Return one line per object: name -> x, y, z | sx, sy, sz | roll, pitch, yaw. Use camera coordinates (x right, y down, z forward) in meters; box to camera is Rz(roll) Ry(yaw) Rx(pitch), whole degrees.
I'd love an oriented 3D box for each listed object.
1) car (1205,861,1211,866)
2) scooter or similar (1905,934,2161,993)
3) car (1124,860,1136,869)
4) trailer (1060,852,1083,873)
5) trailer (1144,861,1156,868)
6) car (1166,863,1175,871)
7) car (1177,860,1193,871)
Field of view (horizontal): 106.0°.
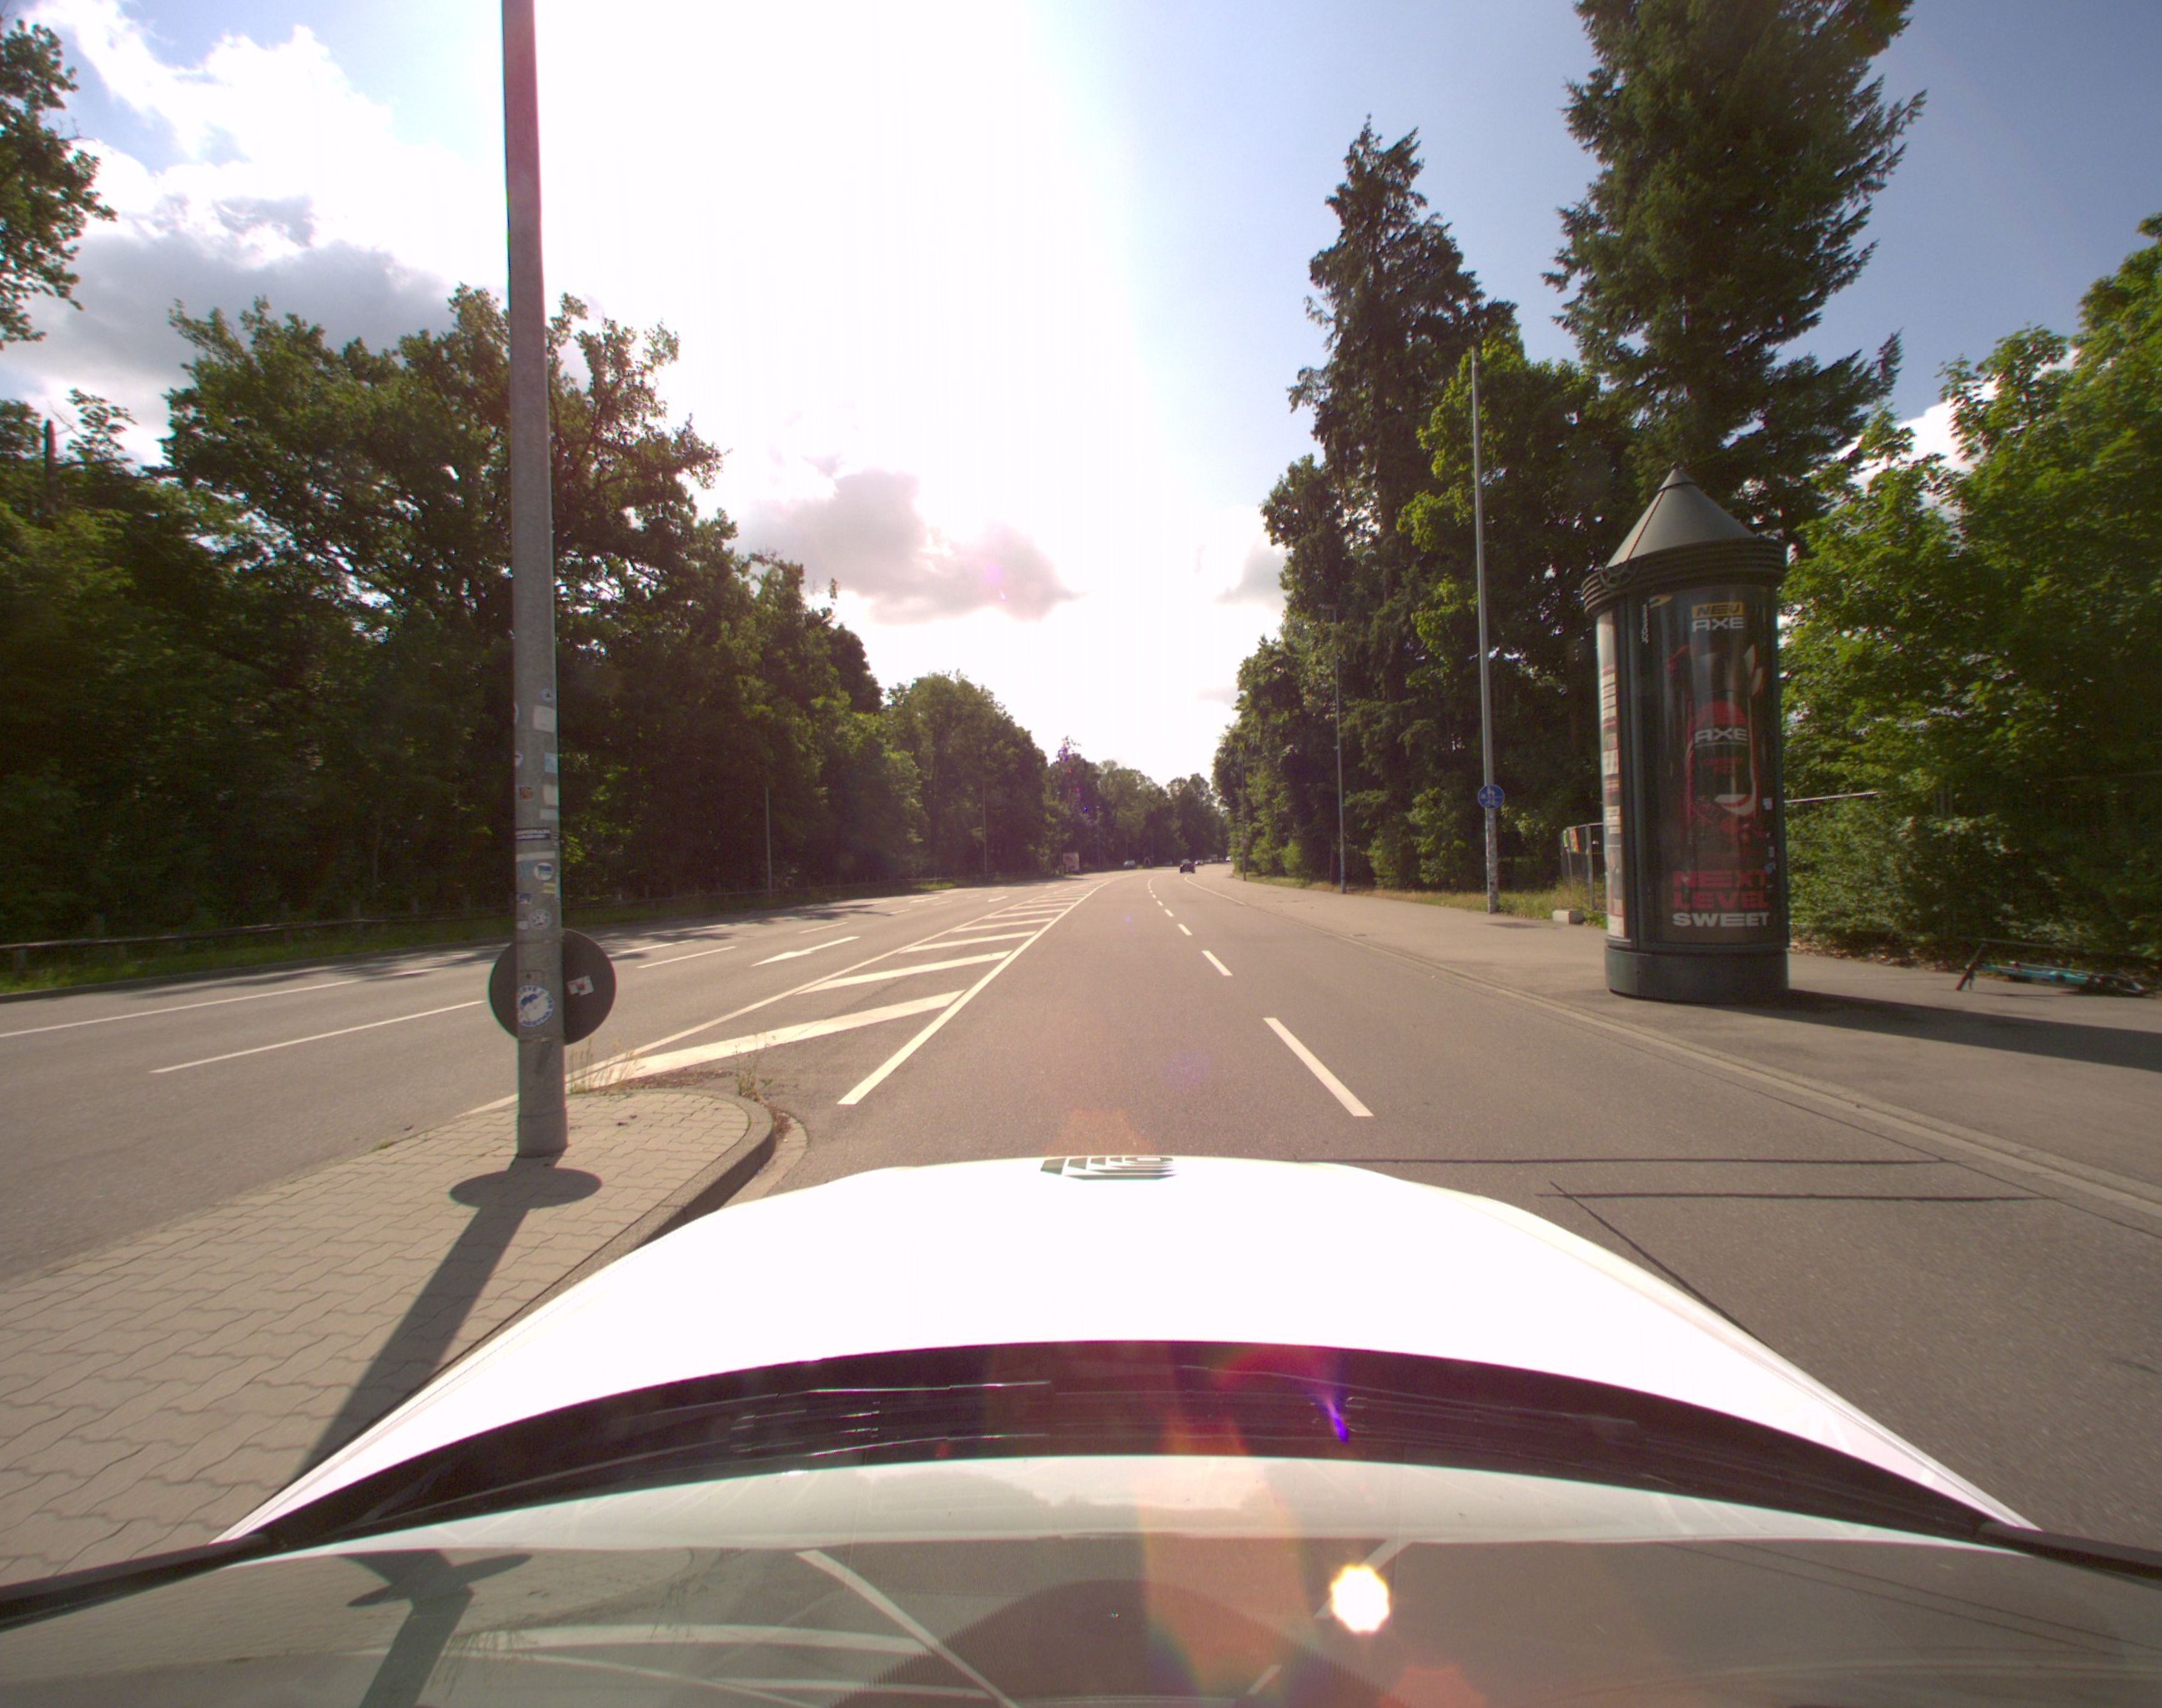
car -> 36.978, 2.651, 237.187 | 1.495, 1.446, 3.537 | -1, -1, 8
scooter or similar -> 9.321, 1.059, 8.060 | 0.850, 0.389, 1.474 | 4, -2, 1
car -> 8.506, 1.830, 141.031 | 1.493, 1.446, 3.542 | -1, -1, 14
trailer -> -1.055, 0.972, 92.861 | 1.981, 2.389, 4.010 | -1, -1, 9
trailer -> 13.839, 2.156, 163.579 | 1.704, 1.355, 3.746 | -1, -1, 14
car -> 20.997, 3.070, 190.582 | 1.912, 1.855, 4.008 | -1, -1, 7
car -> 13.552, 1.543, 105.815 | 1.586, 1.378, 3.991 | -1, -1, 14
